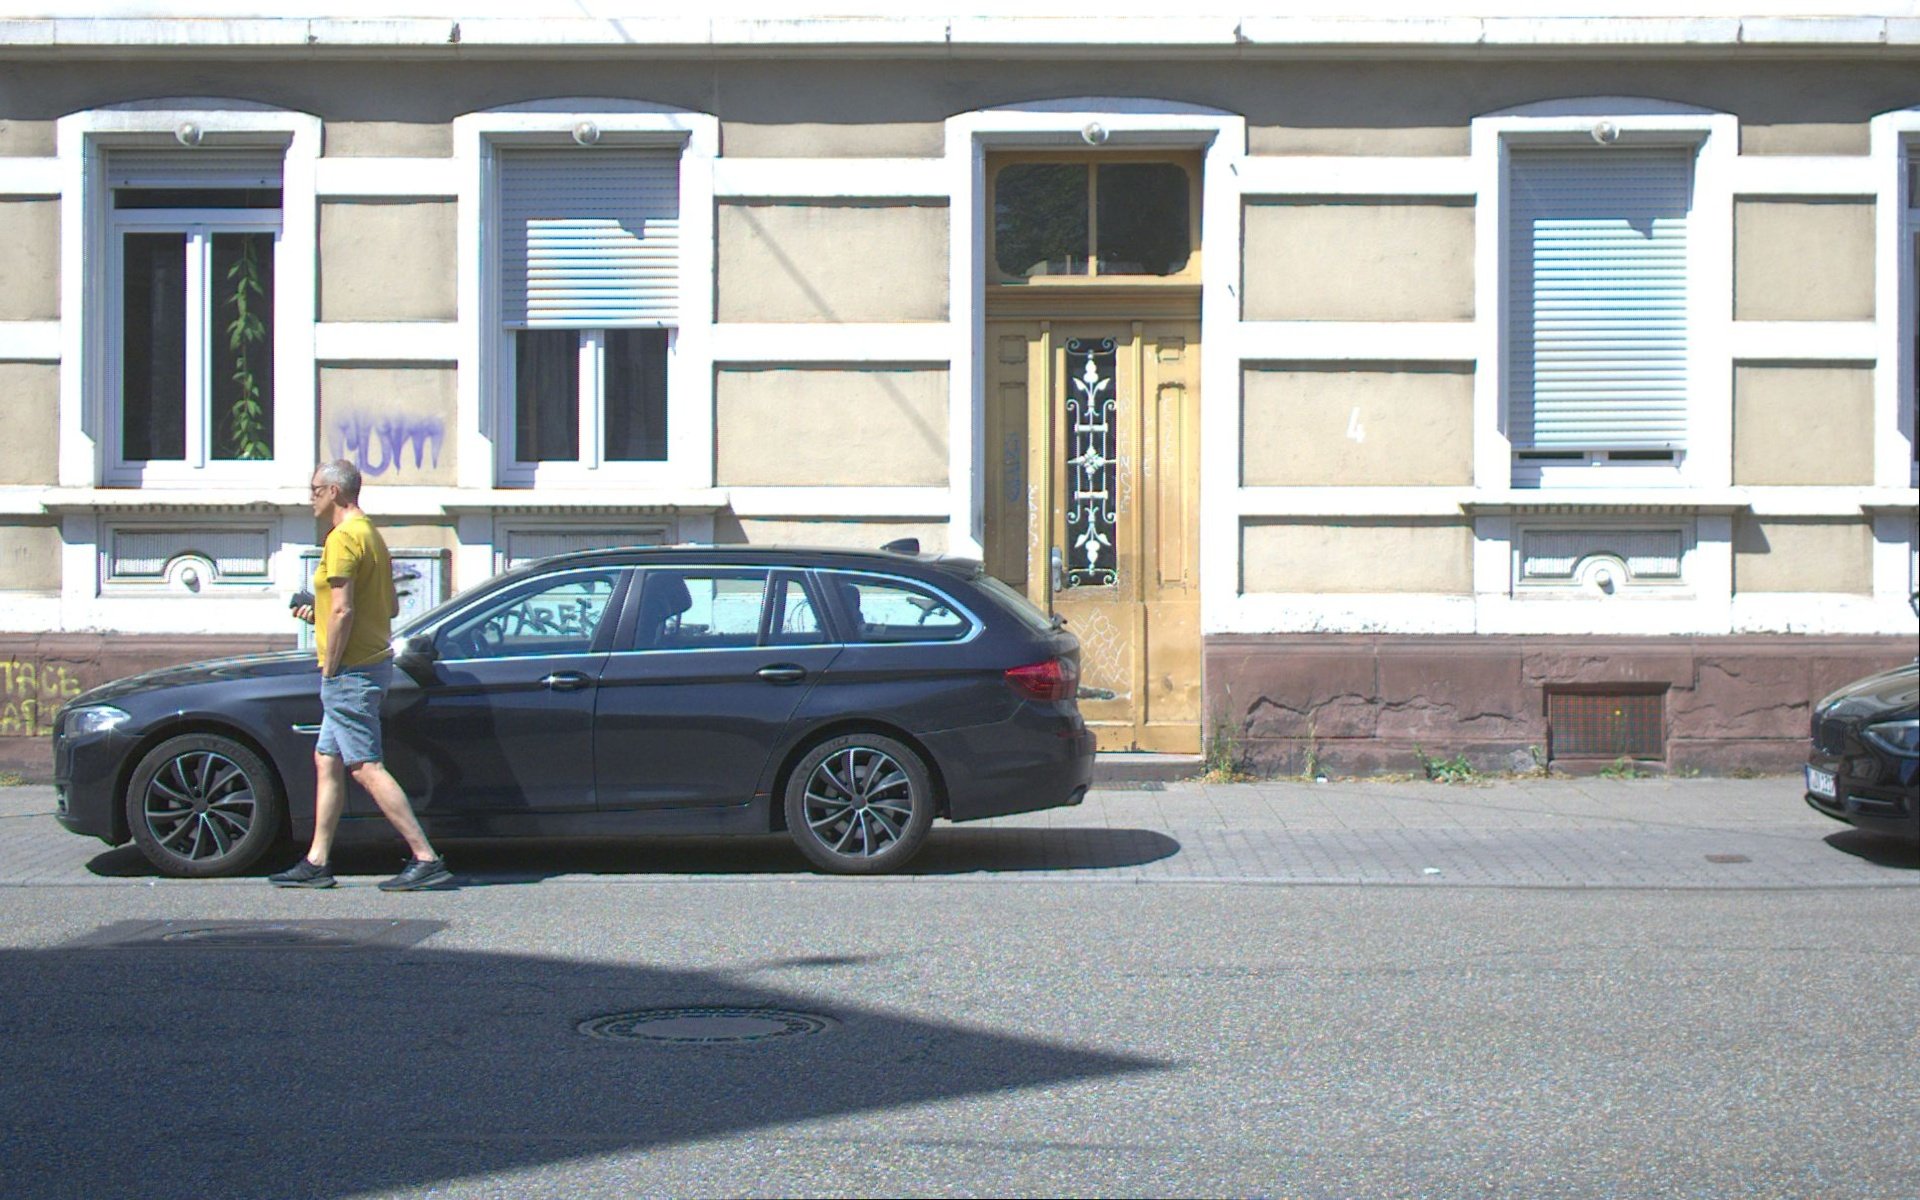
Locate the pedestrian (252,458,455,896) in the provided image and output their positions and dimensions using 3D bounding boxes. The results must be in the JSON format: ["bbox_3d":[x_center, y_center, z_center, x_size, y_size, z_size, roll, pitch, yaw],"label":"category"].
[{"bbox_3d":[-2.617,0.322,14.895,0.724,1.847,0.685,-1,1,1],"label":"pedestrian"}]

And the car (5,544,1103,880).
[{"bbox_3d":[-1.792,0.485,16.250,4.859,1.432,2.000,-1,1,1],"label":"car"}]

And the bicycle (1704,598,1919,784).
[{"bbox_3d":[5.327,0.513,19.781,2.004,1.018,0.424,-1,4,-1],"label":"bicycle"}]

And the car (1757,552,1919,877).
[{"bbox_3d":[6.111,0.479,16.224,4.294,1.365,1.807,-1,3,1],"label":"car"}]
